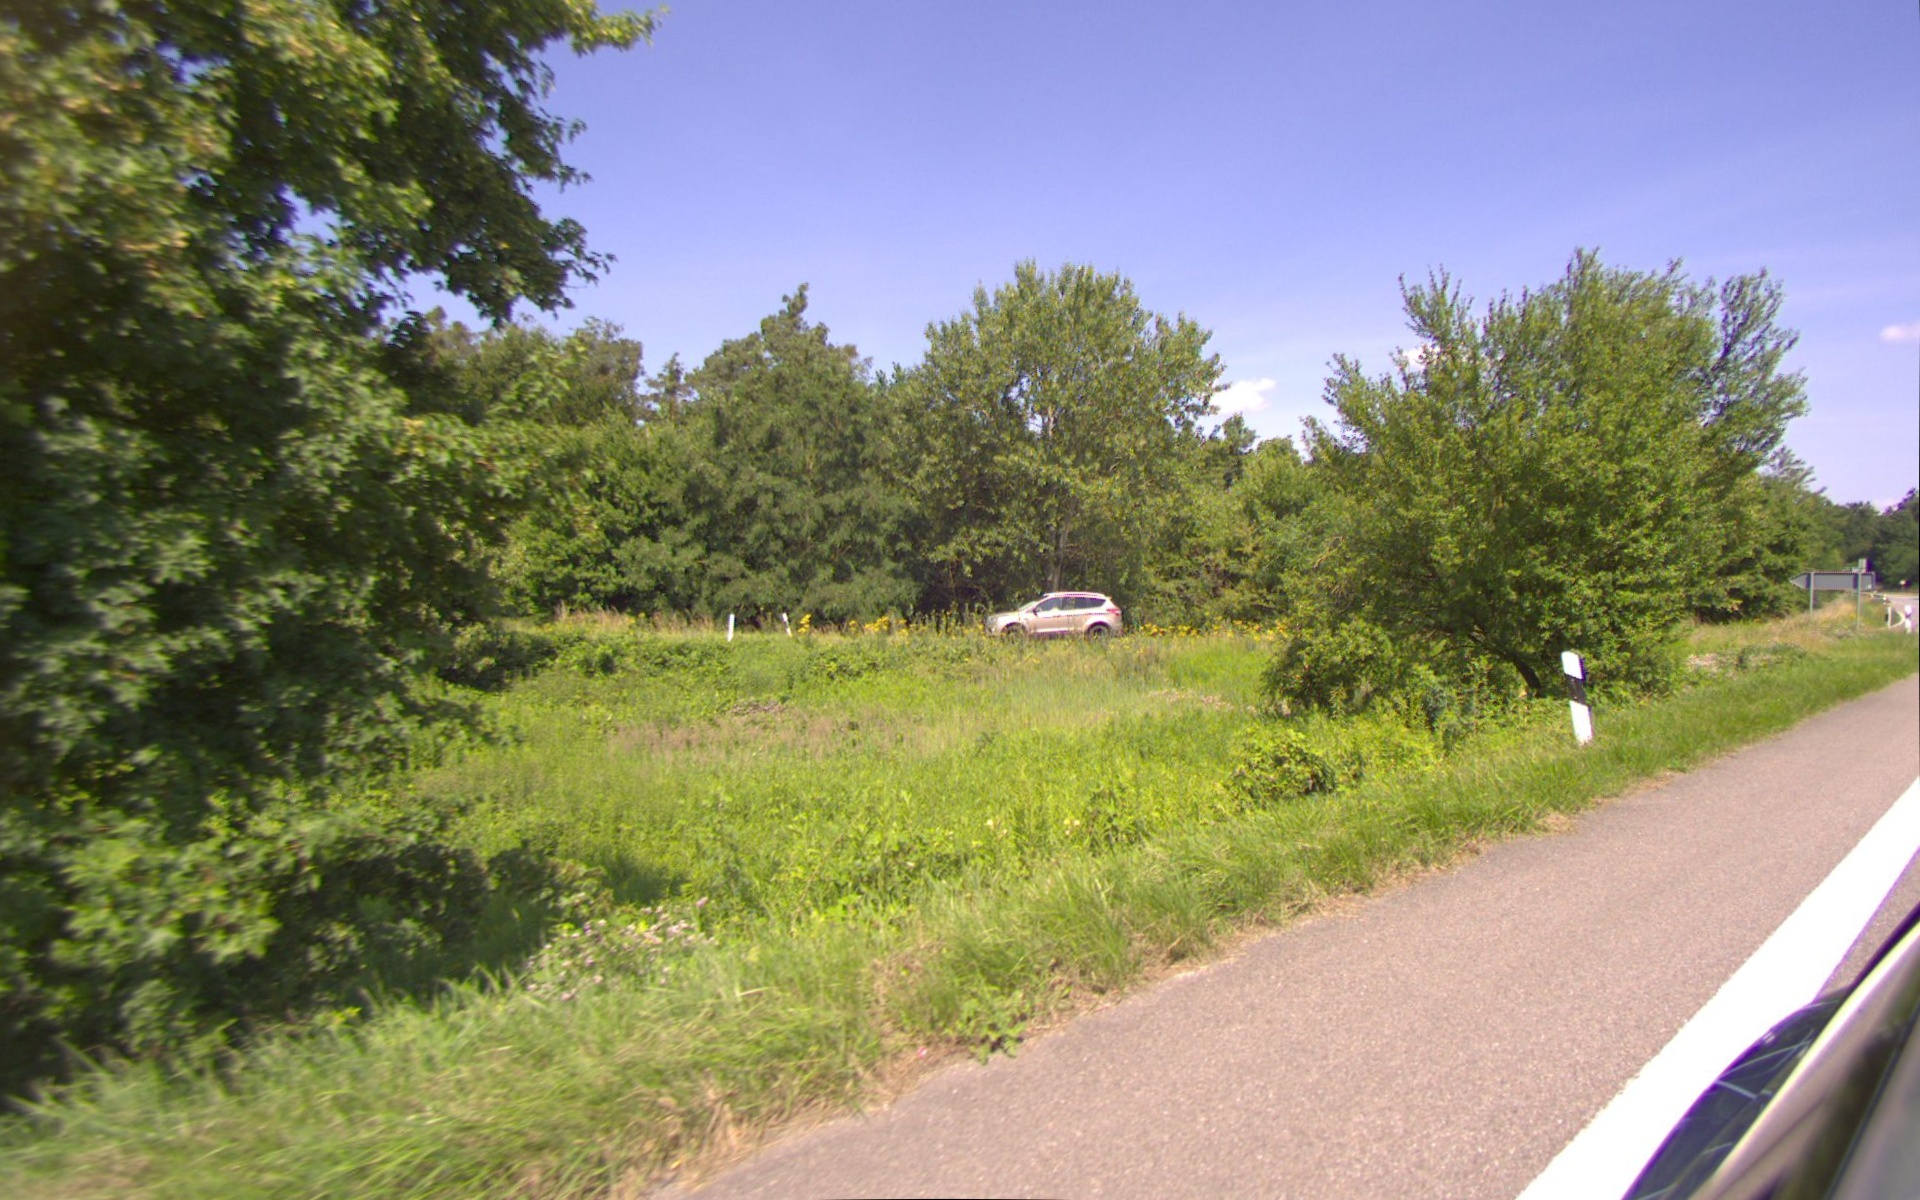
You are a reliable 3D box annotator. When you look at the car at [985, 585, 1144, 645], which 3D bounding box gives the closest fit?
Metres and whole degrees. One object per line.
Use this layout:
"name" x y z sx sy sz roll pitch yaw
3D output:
"car" 3.201 0.466 31.565 4.572 1.687 1.902 -1 -1 -6
